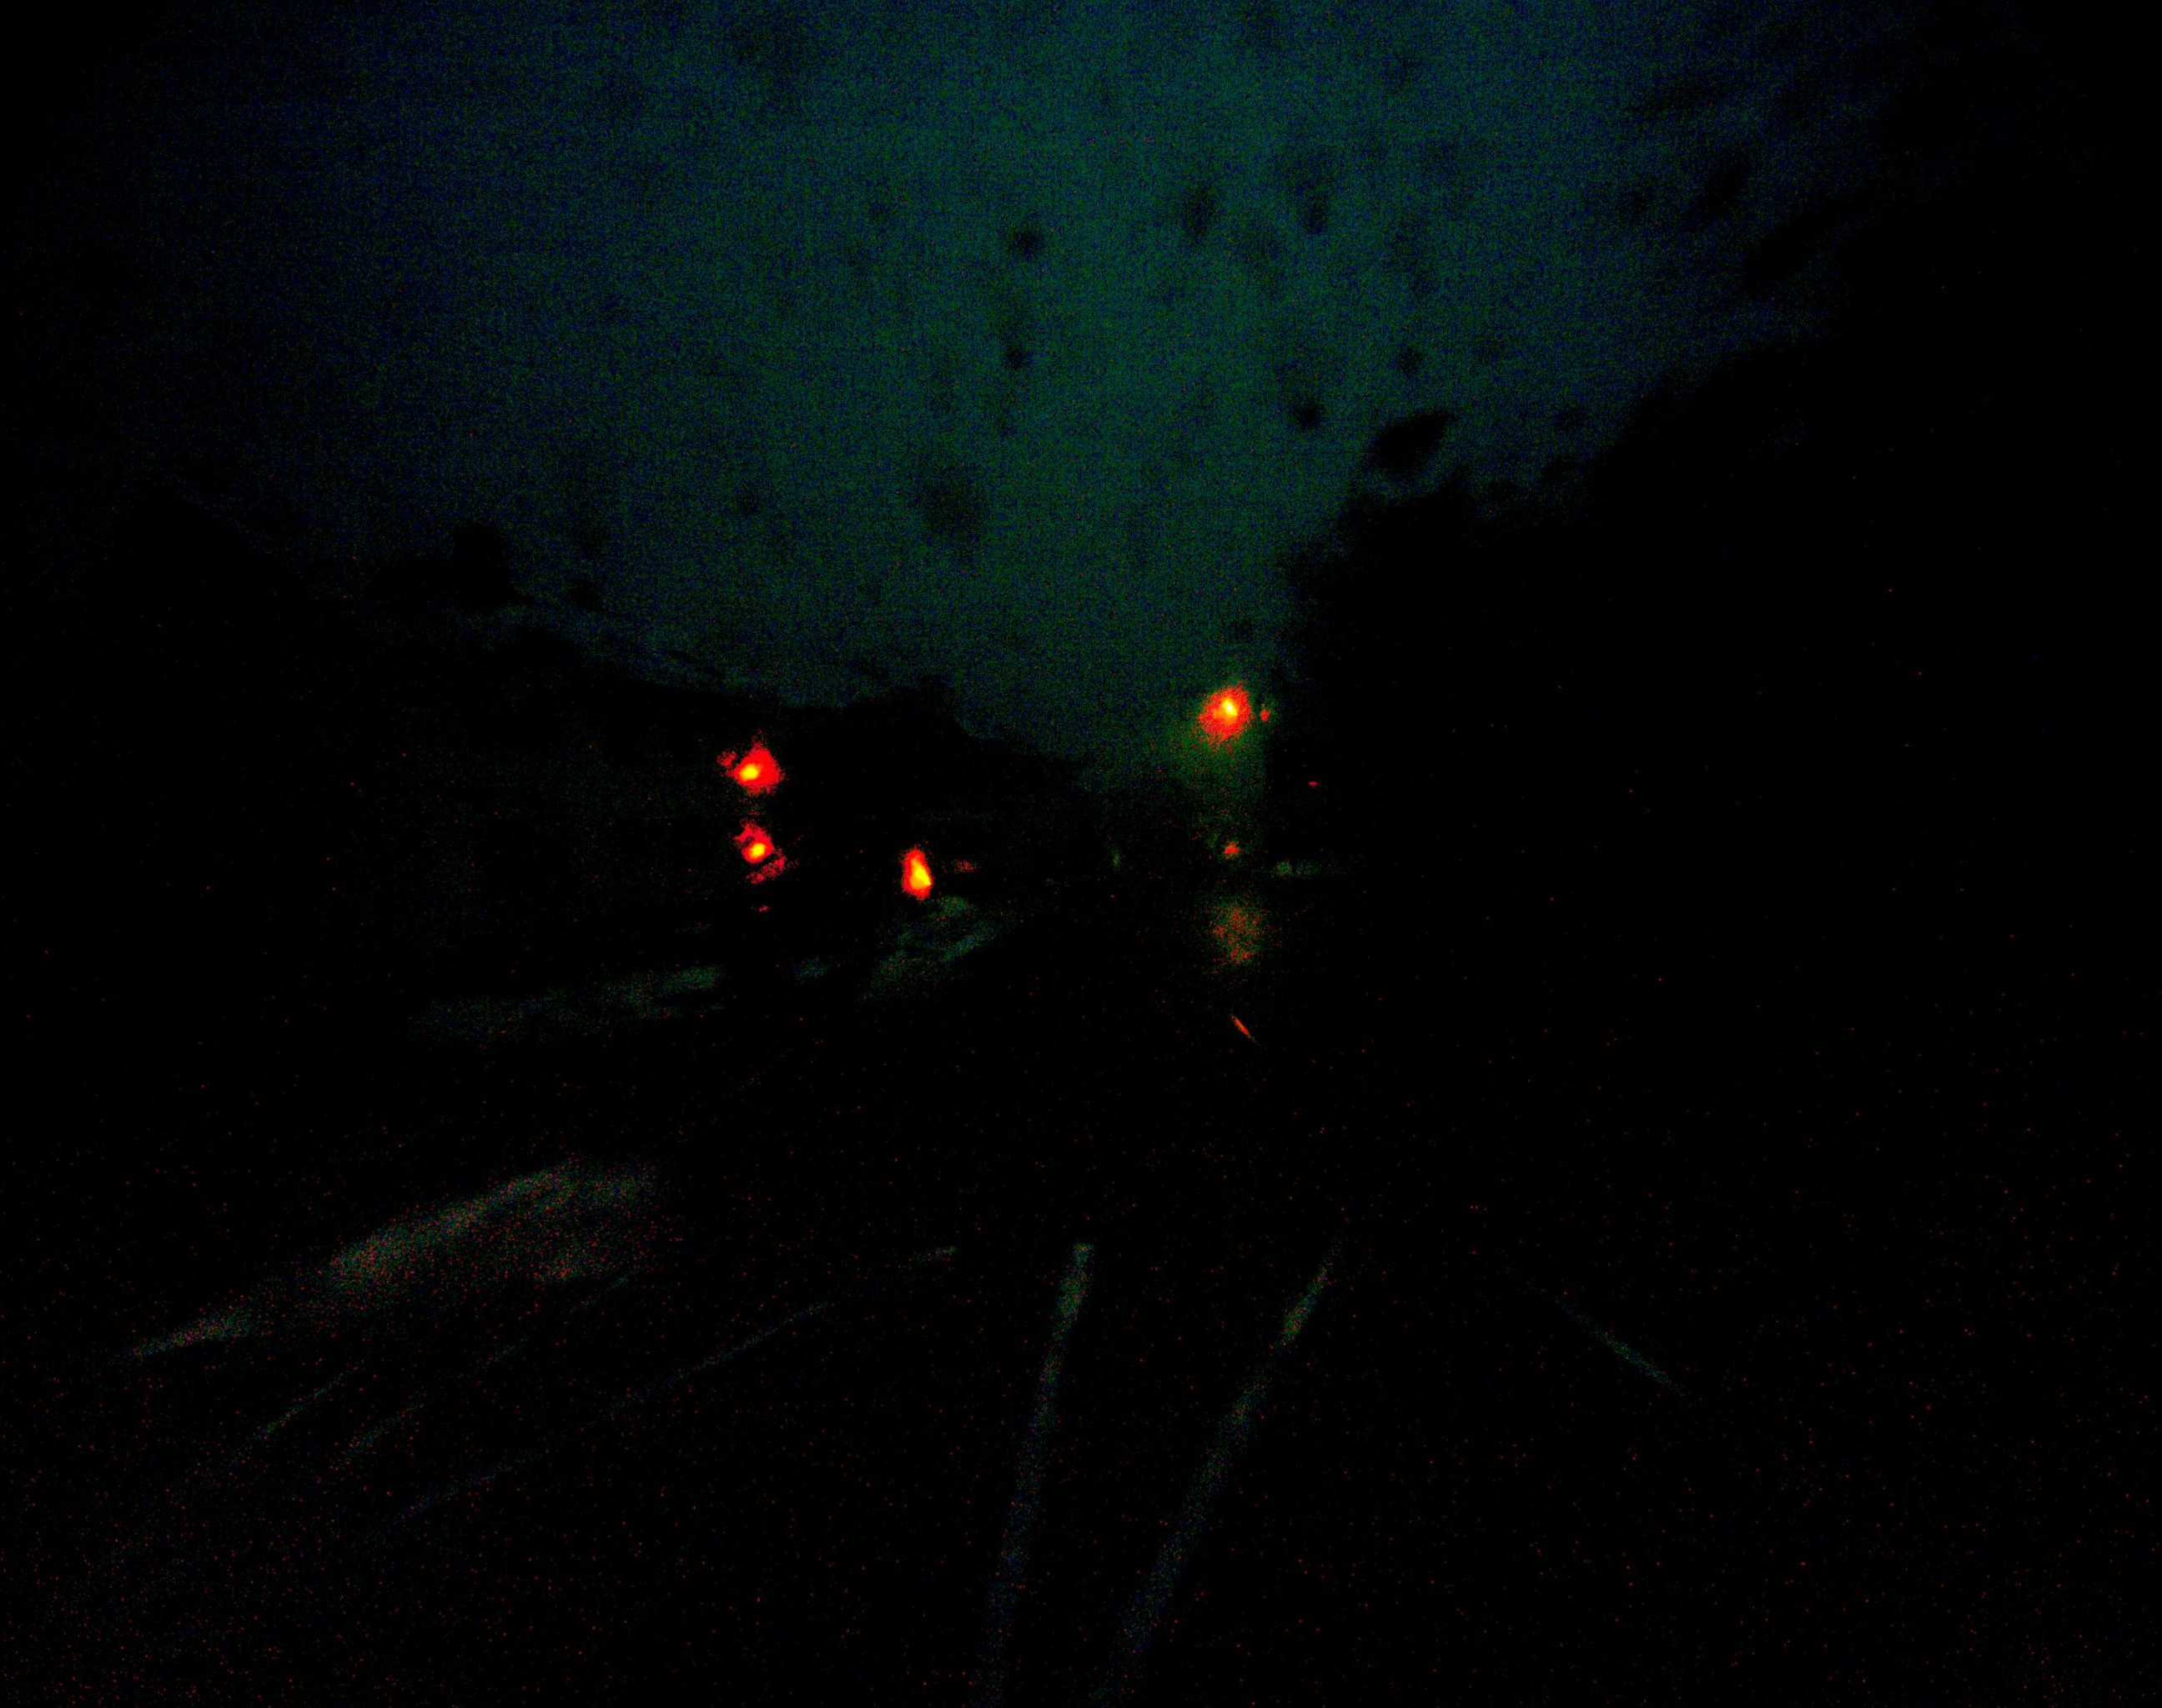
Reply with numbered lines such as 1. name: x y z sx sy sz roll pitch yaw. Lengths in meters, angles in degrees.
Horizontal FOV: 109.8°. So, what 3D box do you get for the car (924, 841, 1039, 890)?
1. car: -4.084 0.462 31.423 4.211 1.848 1.913 -1 2 17
